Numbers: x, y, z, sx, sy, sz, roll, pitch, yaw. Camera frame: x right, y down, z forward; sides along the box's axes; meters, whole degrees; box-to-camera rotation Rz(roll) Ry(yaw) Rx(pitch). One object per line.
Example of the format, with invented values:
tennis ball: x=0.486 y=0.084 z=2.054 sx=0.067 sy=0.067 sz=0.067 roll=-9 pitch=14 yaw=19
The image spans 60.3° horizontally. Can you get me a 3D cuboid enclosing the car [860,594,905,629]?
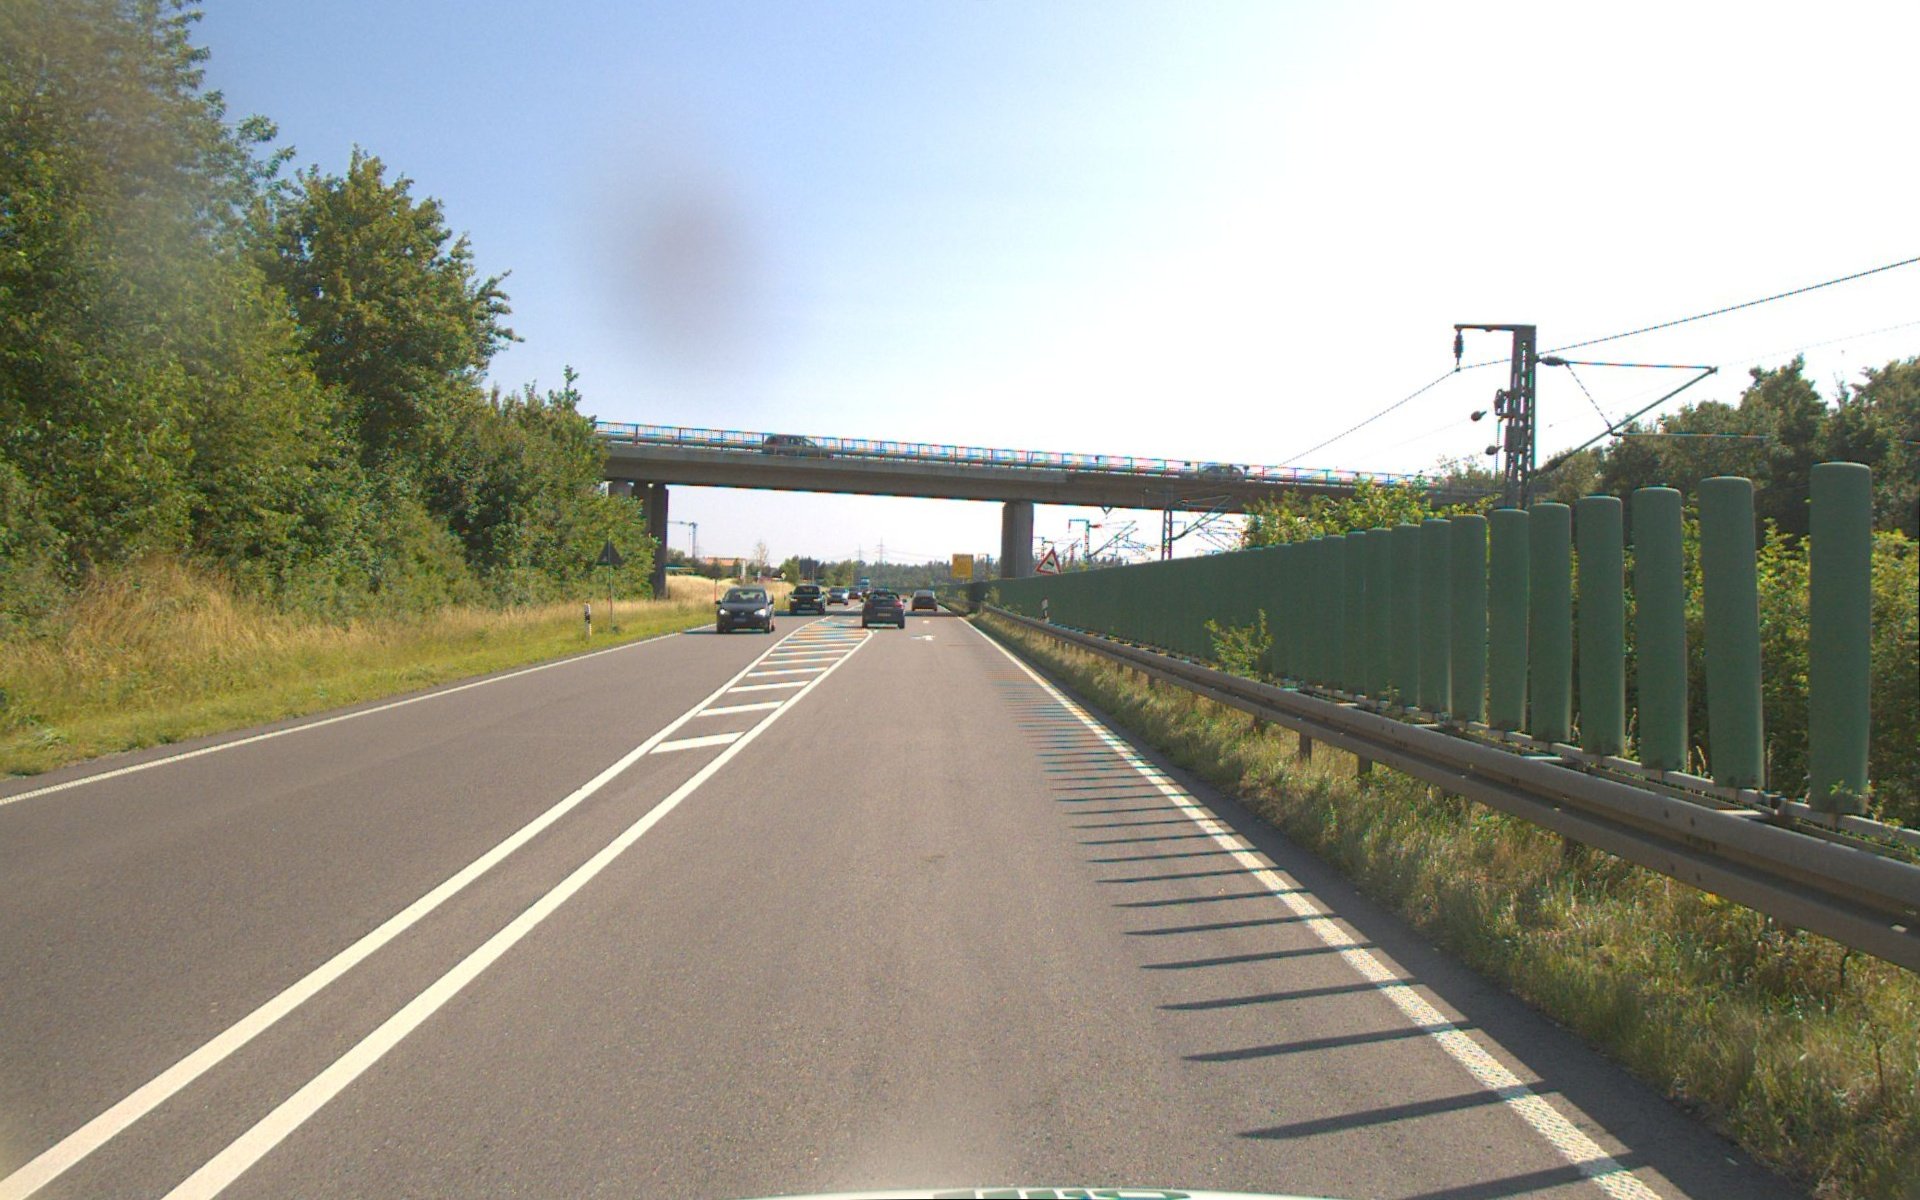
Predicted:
car: x=-2.951 y=0.414 z=63.530 sx=1.630 sy=1.283 sz=3.999 roll=1 pitch=0 yaw=-1

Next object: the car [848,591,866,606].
car: x=-11.624 y=-0.204 z=186.559 sx=1.856 sy=1.659 sz=3.999 roll=1 pitch=0 yaw=-1

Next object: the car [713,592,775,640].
car: x=-7.074 y=0.501 z=54.486 sx=1.715 sy=1.507 sz=3.998 roll=1 pitch=0 yaw=-3

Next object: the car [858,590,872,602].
car: x=-13.409 y=-0.568 z=234.287 sx=1.856 sy=1.659 sz=3.999 roll=1 pitch=0 yaw=-1

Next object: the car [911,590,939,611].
car: x=-2.450 y=0.039 z=115.657 sx=1.856 sy=1.443 sz=3.999 roll=1 pitch=0 yaw=-1

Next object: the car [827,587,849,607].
car: x=-10.652 y=-0.258 z=144.470 sx=1.808 sy=1.659 sz=3.998 roll=1 pitch=1 yaw=-3

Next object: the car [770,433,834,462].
car: x=-8.964 y=-8.615 z=93.836 sx=3.324 sy=1.341 sz=1.567 roll=1 pitch=0 yaw=-25

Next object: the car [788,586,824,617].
car: x=-8.755 y=0.085 z=94.392 sx=1.884 sy=1.620 sz=4.426 roll=3 pitch=0 yaw=-4
